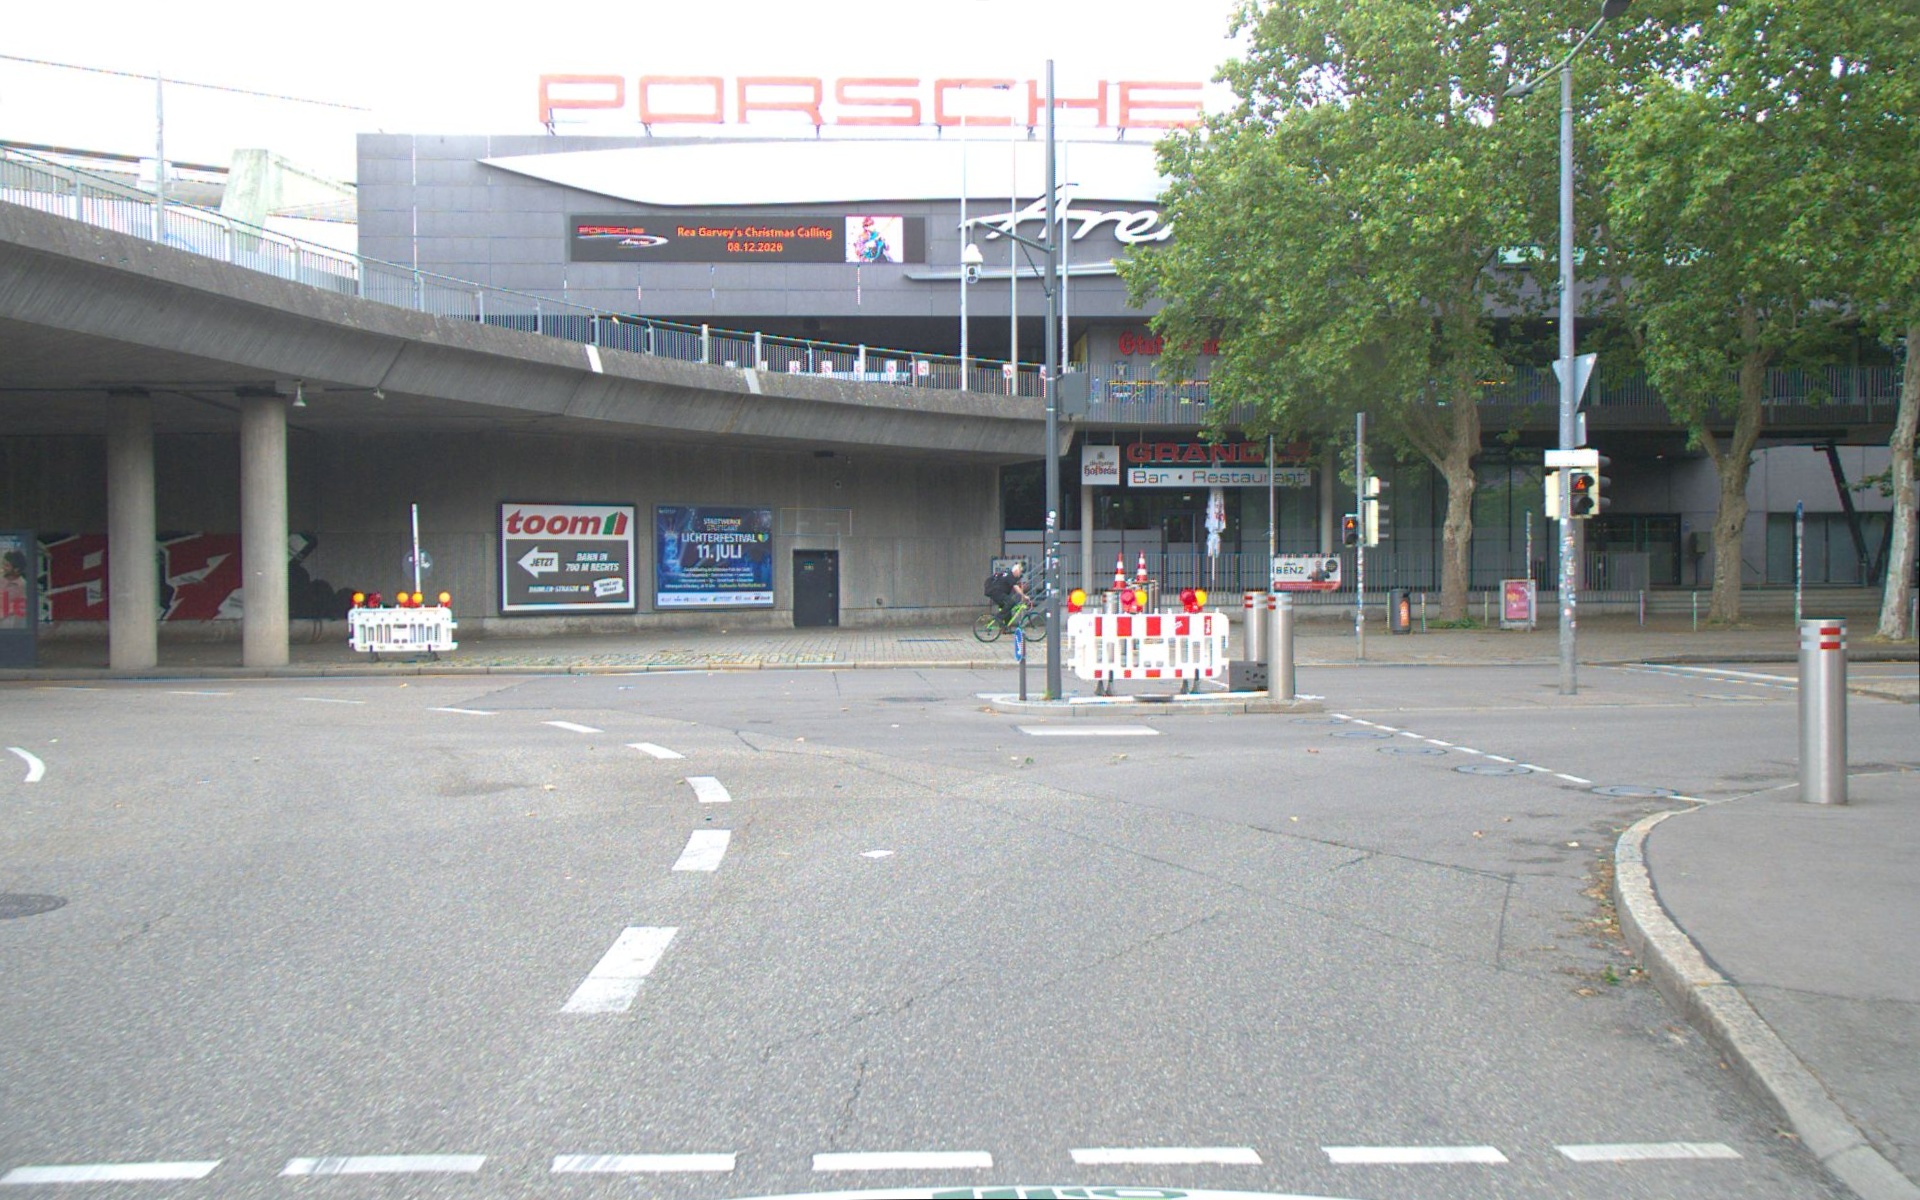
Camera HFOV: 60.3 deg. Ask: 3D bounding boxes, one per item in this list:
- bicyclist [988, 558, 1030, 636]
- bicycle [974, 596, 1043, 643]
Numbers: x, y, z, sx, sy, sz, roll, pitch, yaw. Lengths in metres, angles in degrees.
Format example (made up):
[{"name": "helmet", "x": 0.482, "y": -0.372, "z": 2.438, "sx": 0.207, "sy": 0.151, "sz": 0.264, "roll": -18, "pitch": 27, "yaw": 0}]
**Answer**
[{"name": "bicyclist", "x": 1.110, "y": -0.065, "z": 37.505, "sx": 0.835, "sy": 1.727, "sz": 0.766, "roll": 1, "pitch": -1, "yaw": -5}, {"name": "bicycle", "x": 1.102, "y": 0.431, "z": 37.574, "sx": 1.503, "sy": 1.031, "sz": 0.516, "roll": 1, "pitch": -1, "yaw": -5}]
